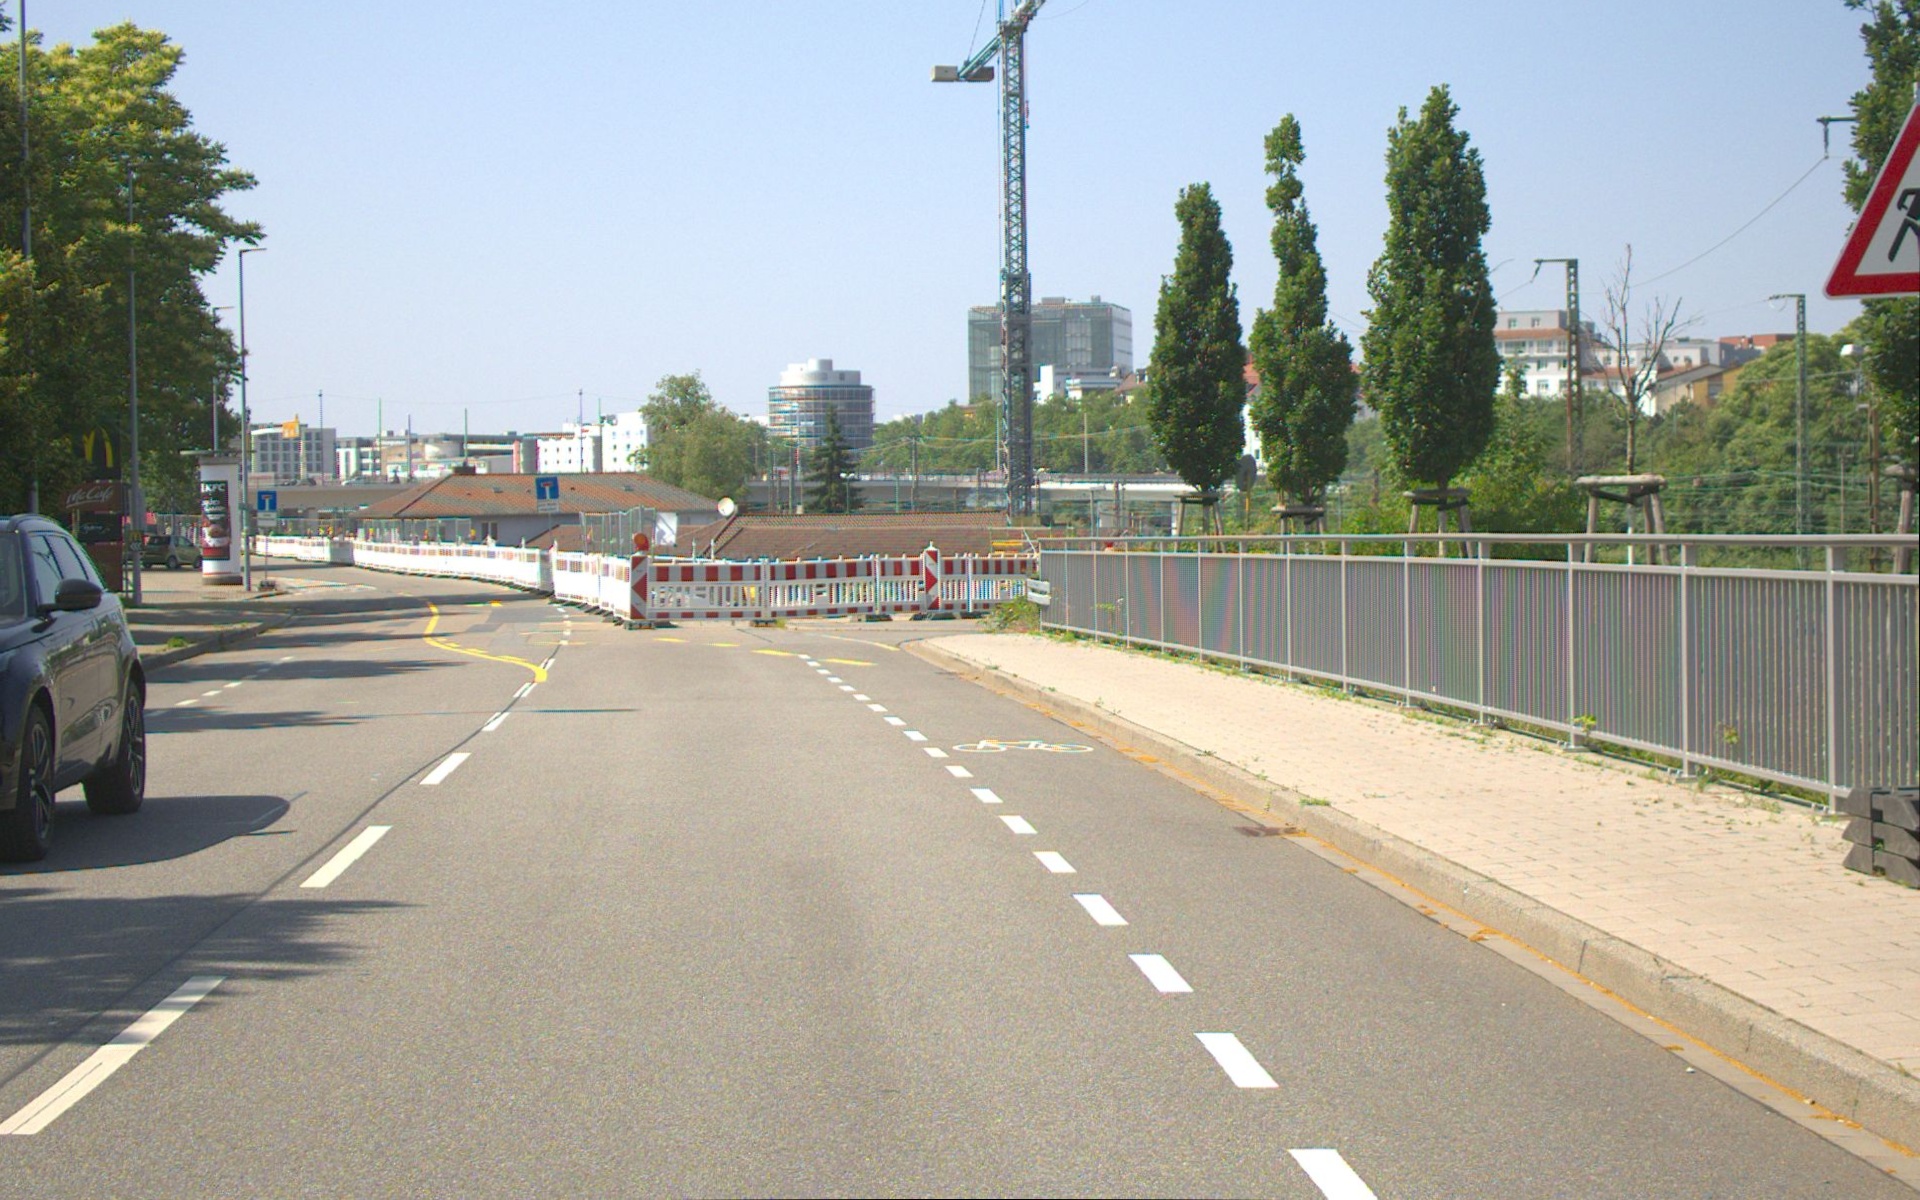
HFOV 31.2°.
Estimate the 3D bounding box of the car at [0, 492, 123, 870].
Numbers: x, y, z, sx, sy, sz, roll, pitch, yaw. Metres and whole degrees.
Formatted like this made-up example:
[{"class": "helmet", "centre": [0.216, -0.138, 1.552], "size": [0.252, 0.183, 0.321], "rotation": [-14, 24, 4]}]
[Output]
[{"class": "car", "centre": [-5.437, 0.327, 17.543], "size": [1.949, 1.689, 4.614], "rotation": [-1, 2, -10]}]
